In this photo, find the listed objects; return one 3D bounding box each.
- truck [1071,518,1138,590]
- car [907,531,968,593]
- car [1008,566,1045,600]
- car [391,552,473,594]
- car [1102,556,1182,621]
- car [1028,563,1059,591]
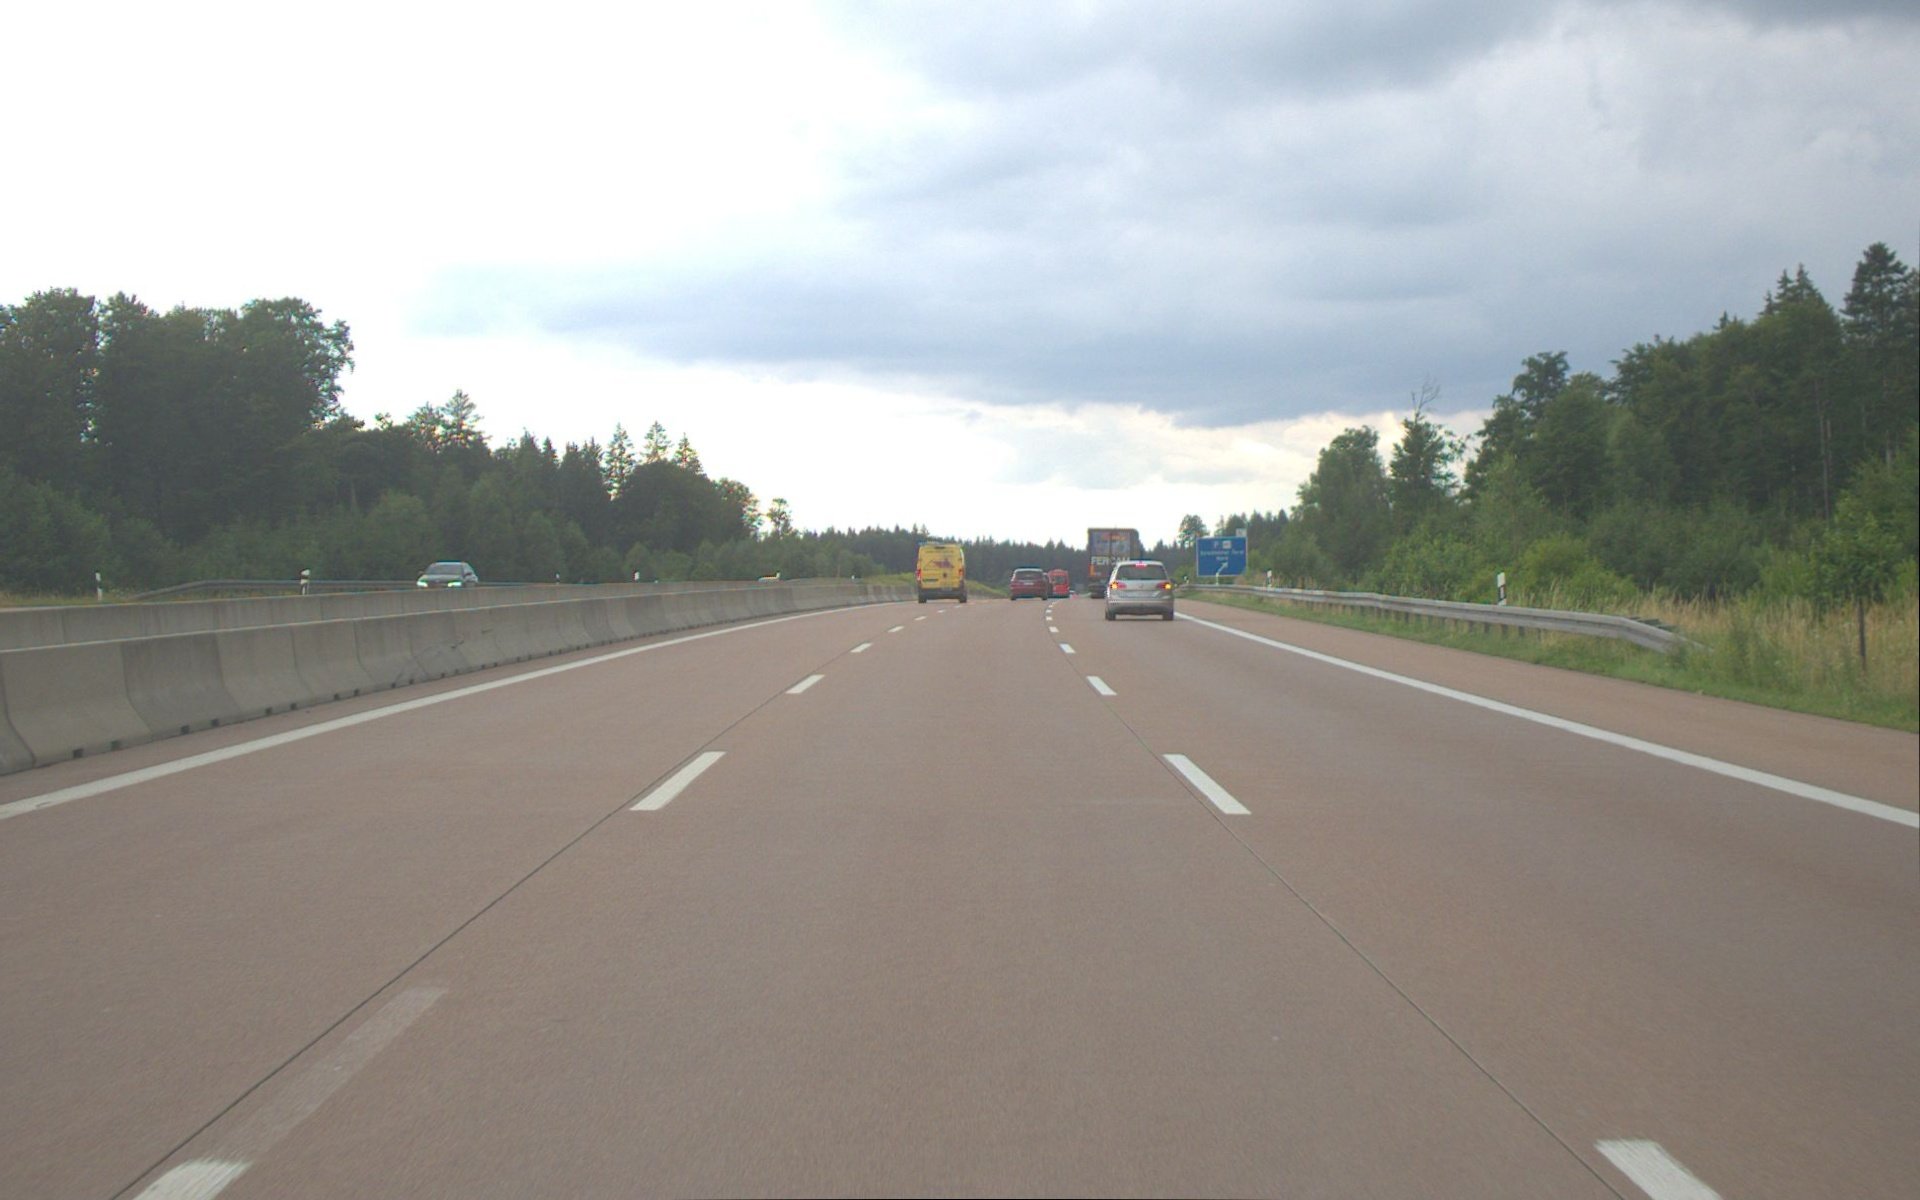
[{"bbox_3d":[8.394,-2.584,198.868,3.681,3.899,12.815,1,0,3],"label":"truck"},{"bbox_3d":[-0.972,-1.665,153.035,2.459,2.697,5.613,0,0,3],"label":"car"},{"bbox_3d":[3.456,-0.892,177.929,1.887,1.758,4.782,0,0,2],"label":"car"},{"bbox_3d":[-19.983,-1.015,130.304,2.217,1.561,4.849,0,0,1],"label":"car"},{"bbox_3d":[4.791,-0.322,90.938,1.978,1.642,4.619,1,1,2],"label":"car"},{"bbox_3d":[5.384,-1.504,221.086,1.887,1.758,4.997,0,0,3],"label":"car"}]
